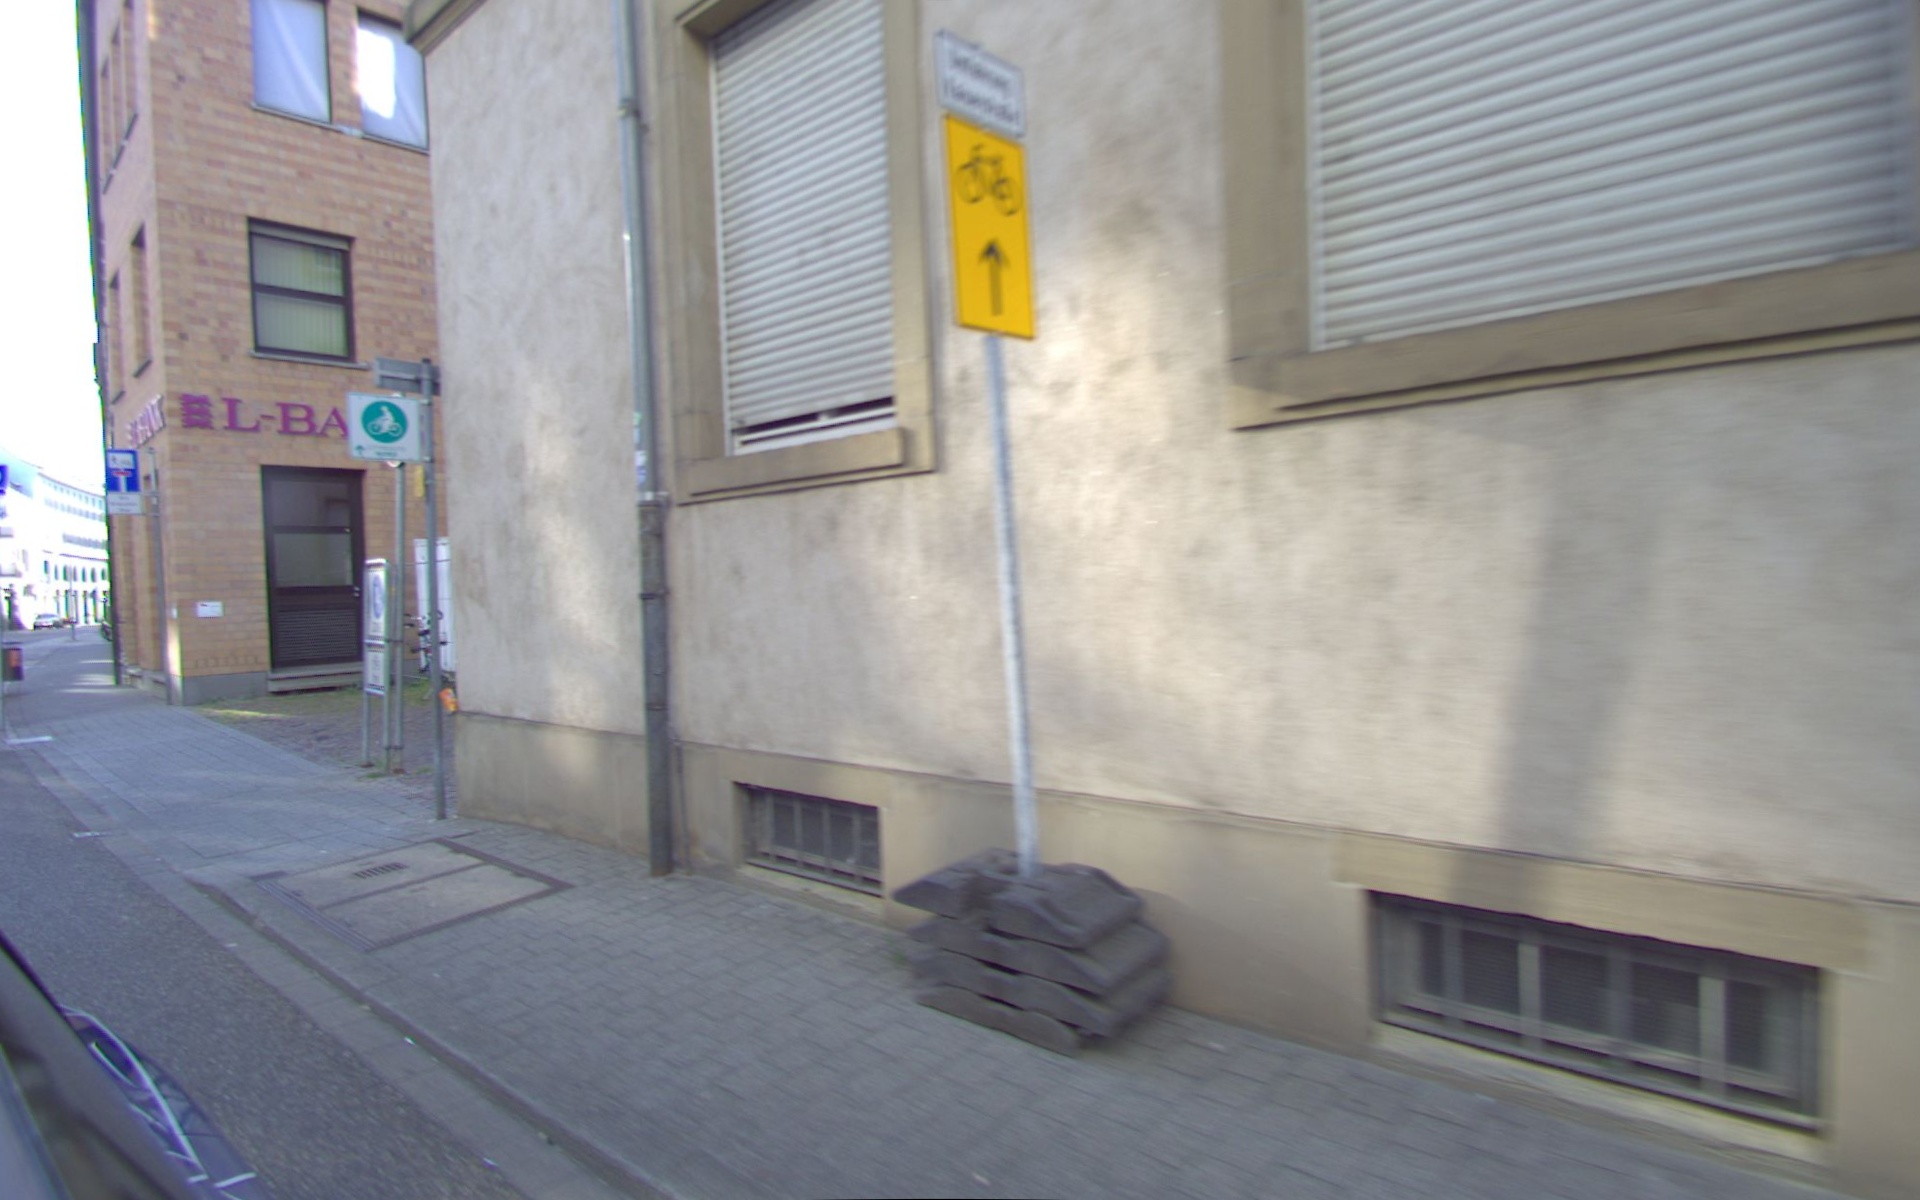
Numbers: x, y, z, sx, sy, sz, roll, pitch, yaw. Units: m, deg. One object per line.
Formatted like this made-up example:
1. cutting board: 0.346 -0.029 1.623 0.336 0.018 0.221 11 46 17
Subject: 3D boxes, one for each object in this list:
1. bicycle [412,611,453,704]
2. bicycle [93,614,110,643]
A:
1. bicycle: -7.298 0.759 14.027 0.424 1.152 1.596 -3 2 -27
2. bicycle: -36.585 1.199 43.127 0.425 1.152 1.693 -4 2 -38
